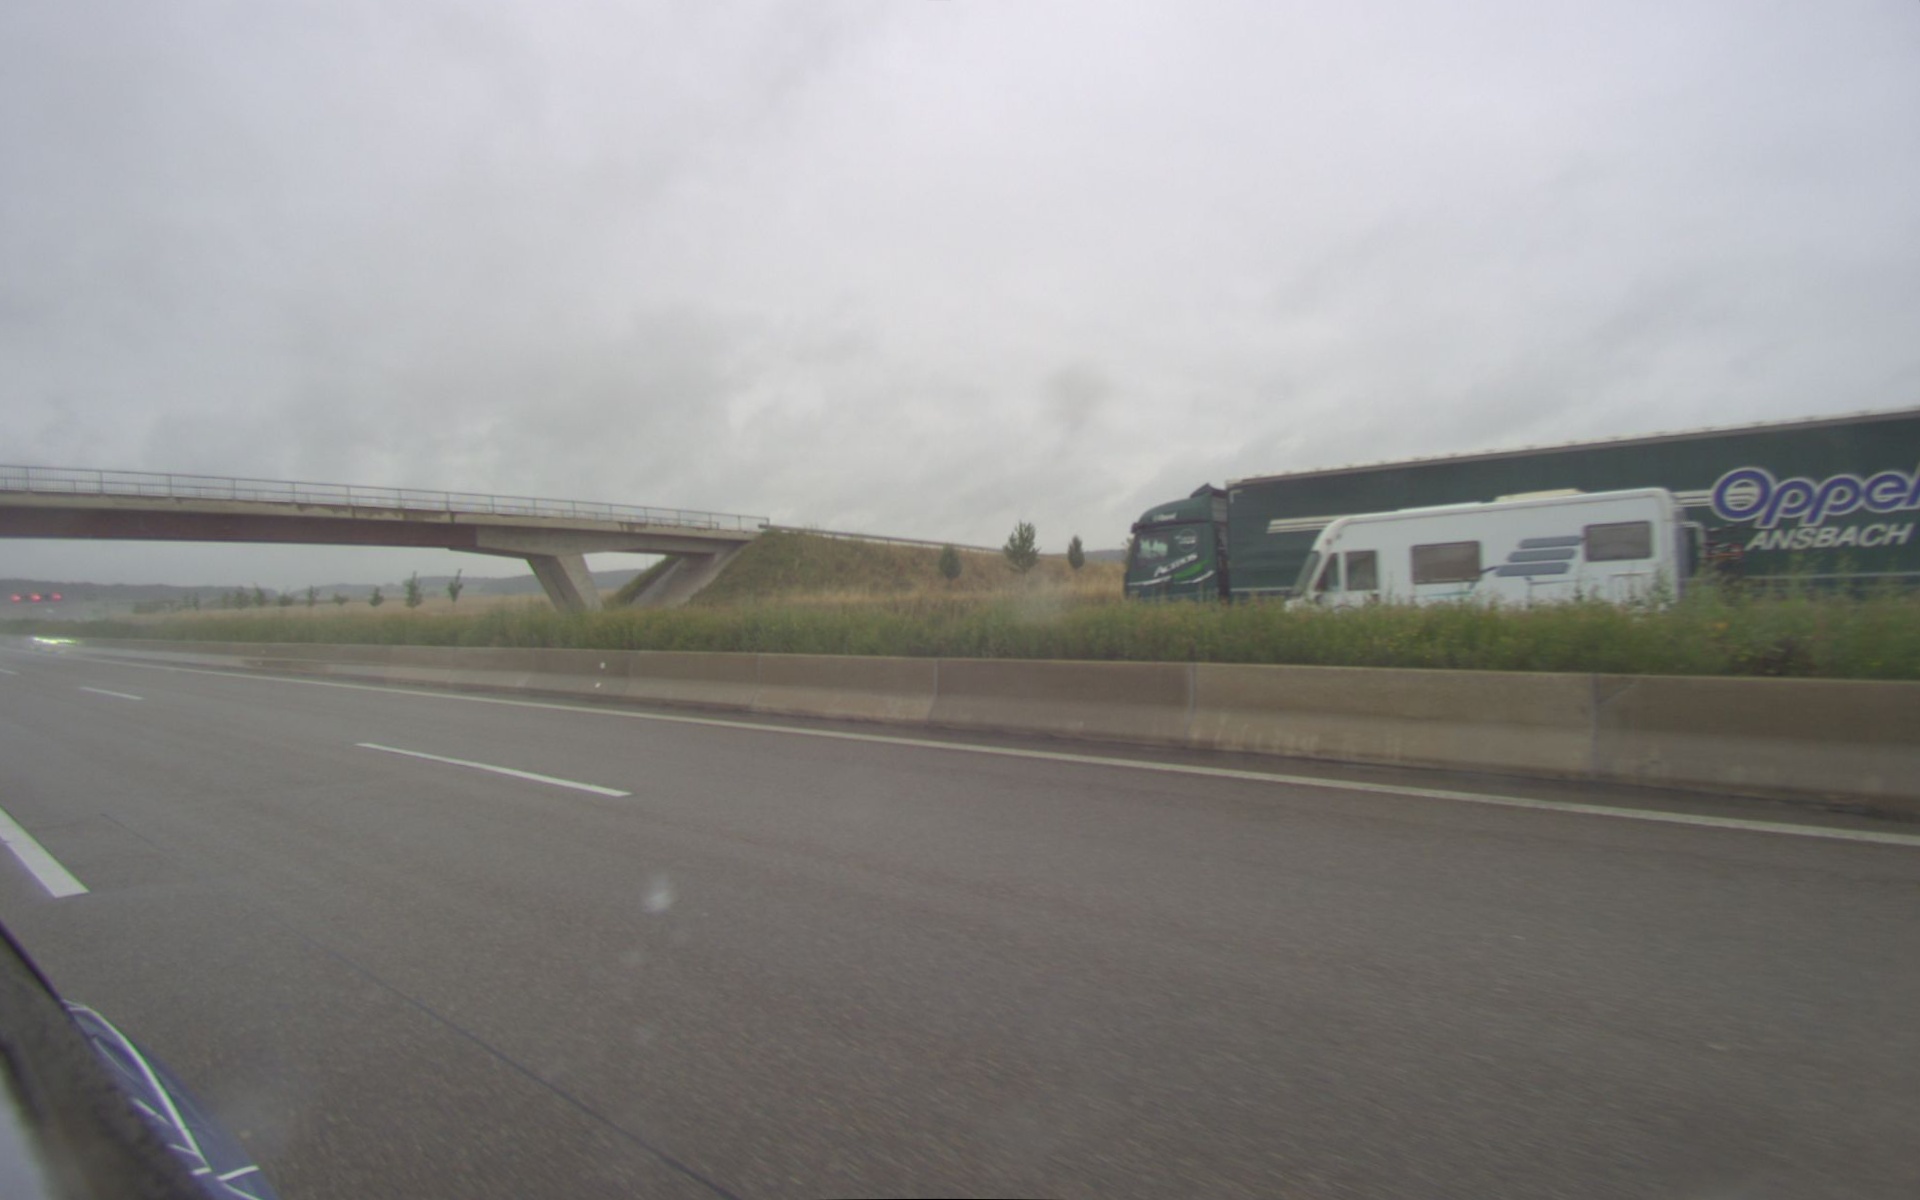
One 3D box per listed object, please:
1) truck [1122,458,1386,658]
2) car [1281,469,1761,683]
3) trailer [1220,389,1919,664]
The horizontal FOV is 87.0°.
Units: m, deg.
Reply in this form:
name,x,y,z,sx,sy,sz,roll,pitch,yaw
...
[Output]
name,x,y,z,sx,sy,sz,roll,pitch,yaw
truck,6.527,-0.806,22.831,5.182,4.013,2.191,-2,0,41
car,8.555,-0.251,15.875,6.201,2.726,2.472,-2,0,40
trailer,11.788,-1.000,18.248,14.198,4.027,2.201,-2,0,41
